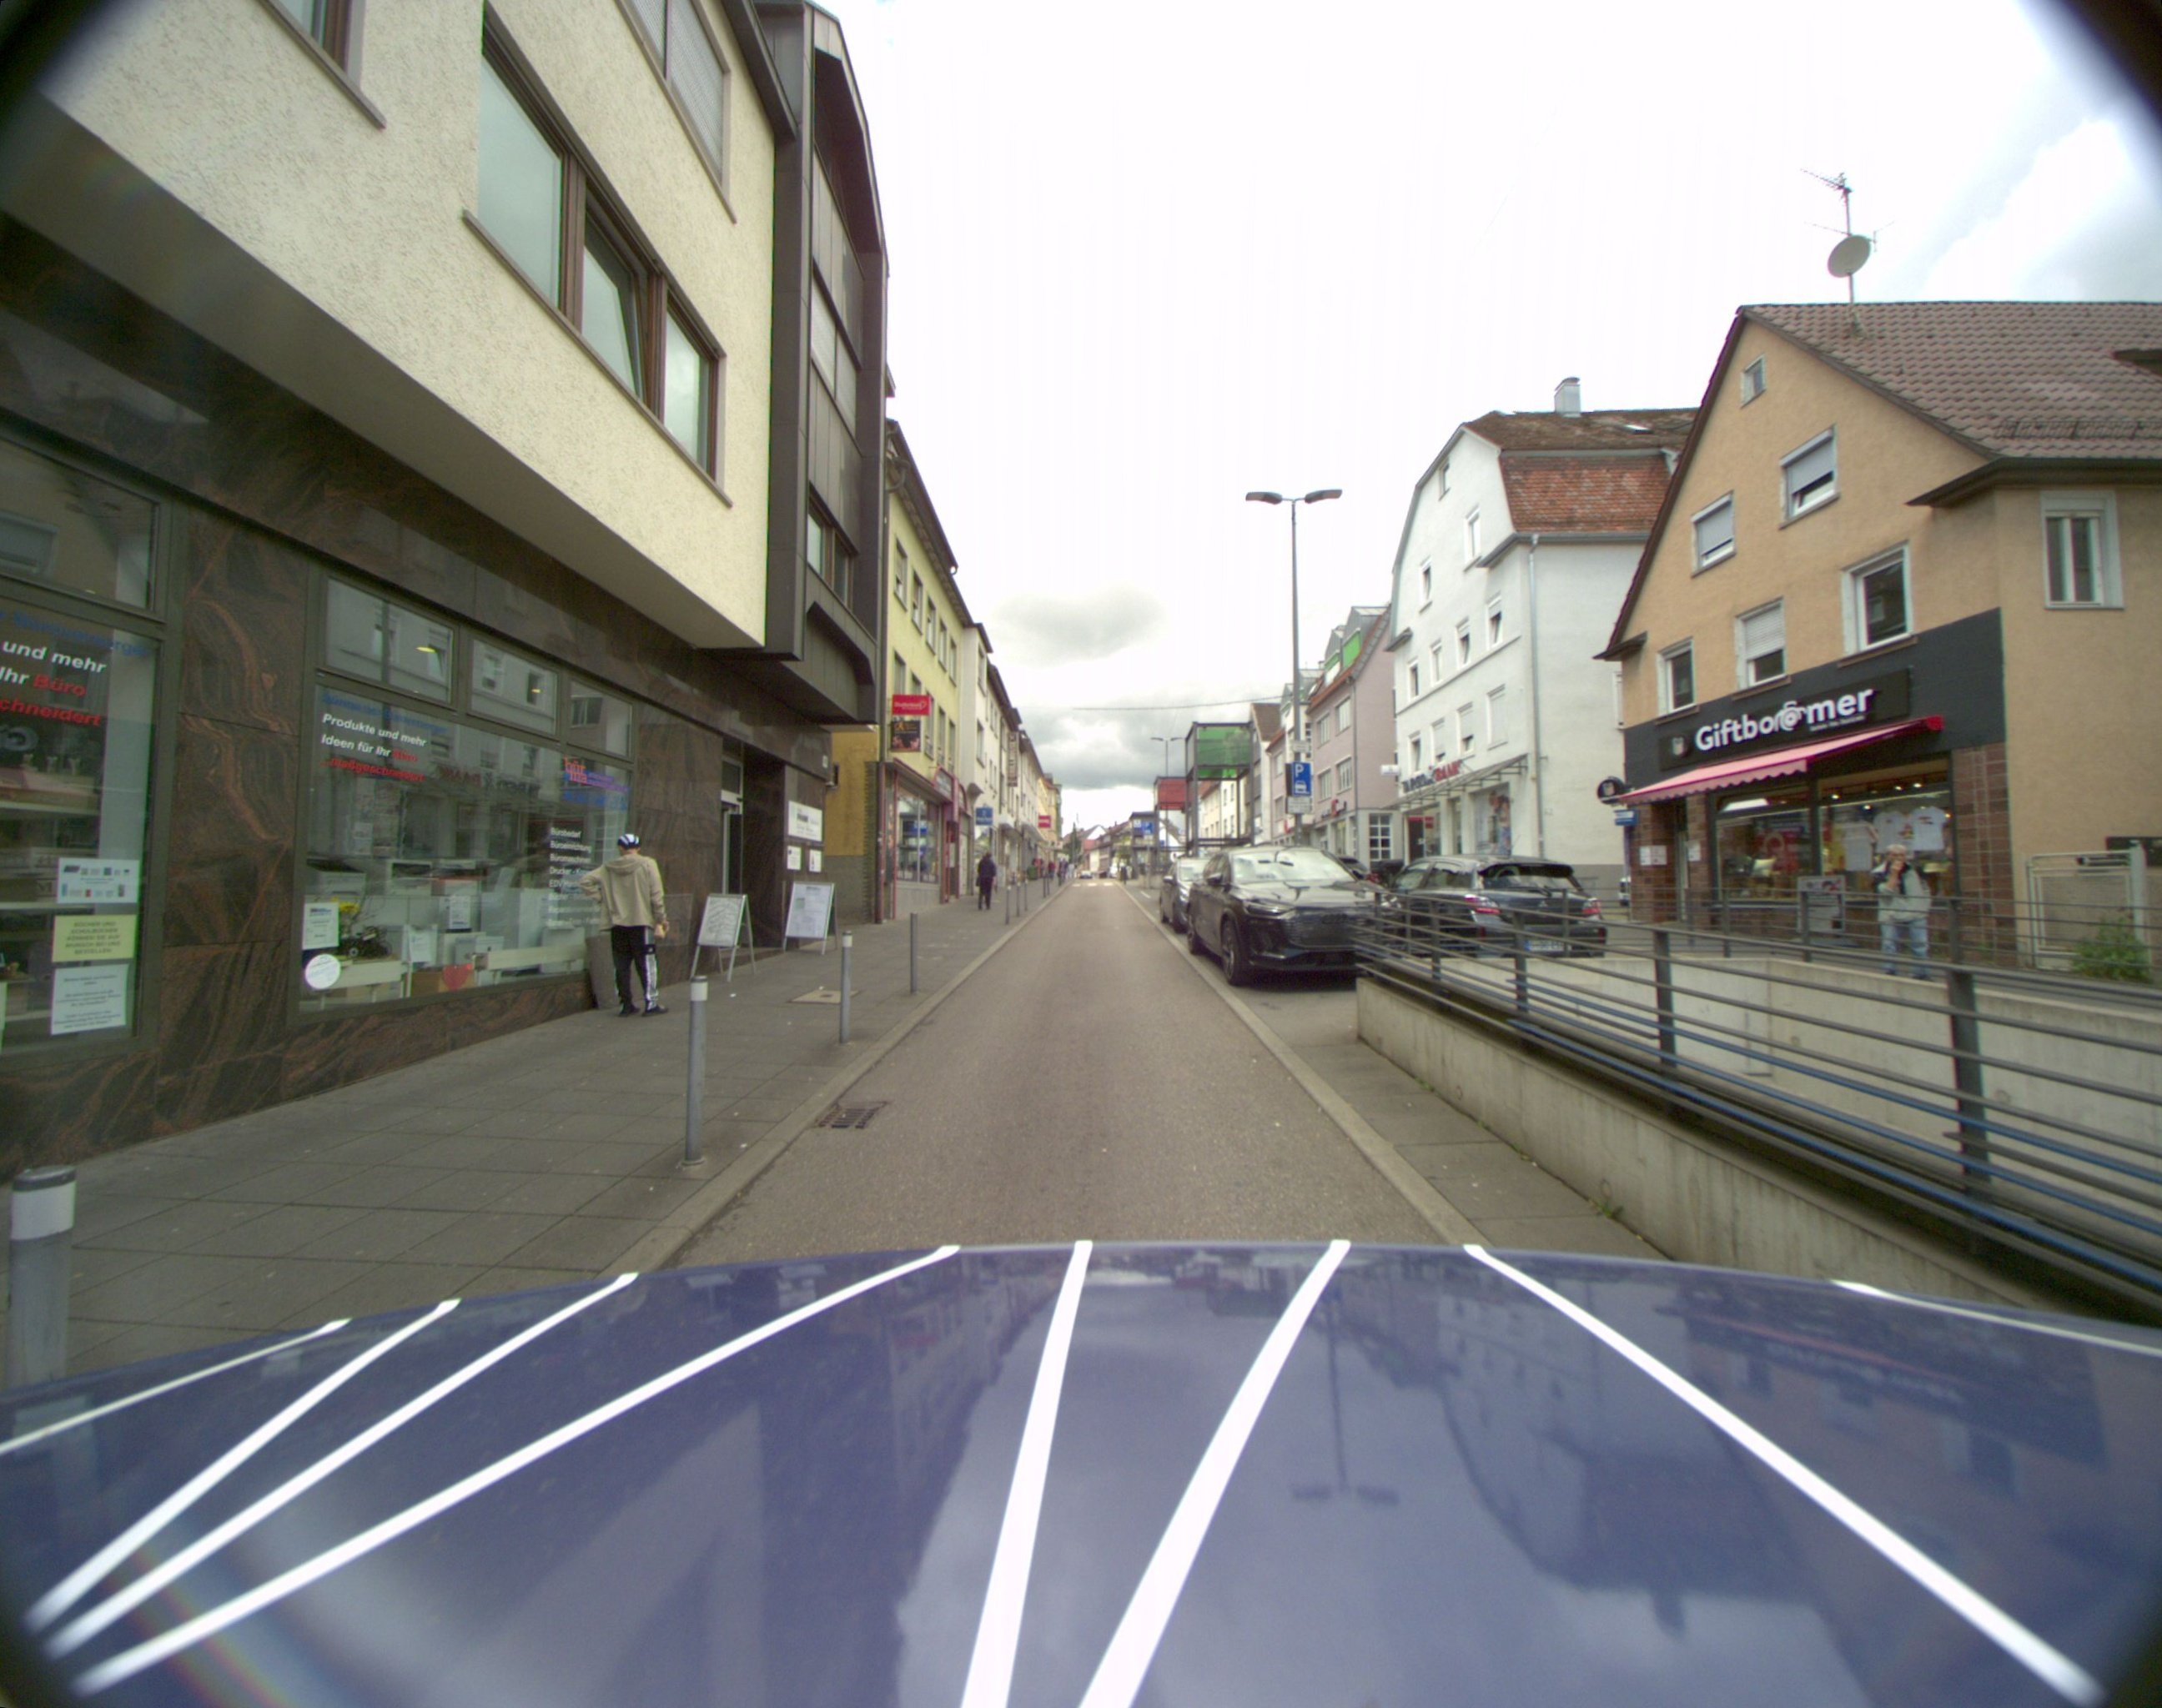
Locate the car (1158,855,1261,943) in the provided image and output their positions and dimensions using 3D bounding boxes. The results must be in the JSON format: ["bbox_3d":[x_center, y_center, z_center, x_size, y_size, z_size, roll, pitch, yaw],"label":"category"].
[{"bbox_3d":[2.593,0.858,16.040,1.577,1.600,3.533,-2,0,1],"label":"car"}]

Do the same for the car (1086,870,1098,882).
[{"bbox_3d":[1.931,3.911,134.731,1.998,2.002,4.000,0,0,1],"label":"car"}]

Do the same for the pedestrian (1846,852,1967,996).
[{"bbox_3d":[10.090,0.824,9.315,0.748,1.704,0.664,0,1,1],"label":"pedestrian"}]

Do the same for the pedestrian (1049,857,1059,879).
[{"bbox_3d":[-1.832,0.968,51.951,0.663,1.519,0.705,0,1,-6],"label":"pedestrian"}]

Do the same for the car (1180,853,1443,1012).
[{"bbox_3d":[2.625,0.796,9.911,1.999,1.557,4.431,-2,0,-1],"label":"car"}]

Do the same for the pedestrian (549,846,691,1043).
[{"bbox_3d":[-4.160,0.780,6.912,0.760,1.663,0.780,3,0,-2],"label":"pedestrian"}]

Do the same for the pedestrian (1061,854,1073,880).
[{"bbox_3d":[-0.961,0.859,52.018,0.761,1.764,0.851,0,1,-6],"label":"pedestrian"}]

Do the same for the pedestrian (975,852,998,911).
[{"bbox_3d":[-2.743,0.782,22.090,0.639,1.689,0.708,0,1,-5],"label":"pedestrian"}]

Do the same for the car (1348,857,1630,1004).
[{"bbox_3d":[5.113,0.838,10.189,1.703,1.538,3.898,-2,0,1],"label":"car"}]

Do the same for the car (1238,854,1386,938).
[{"bbox_3d":[5.013,0.828,17.215,1.998,1.580,4.494,-2,0,1],"label":"car"}]
